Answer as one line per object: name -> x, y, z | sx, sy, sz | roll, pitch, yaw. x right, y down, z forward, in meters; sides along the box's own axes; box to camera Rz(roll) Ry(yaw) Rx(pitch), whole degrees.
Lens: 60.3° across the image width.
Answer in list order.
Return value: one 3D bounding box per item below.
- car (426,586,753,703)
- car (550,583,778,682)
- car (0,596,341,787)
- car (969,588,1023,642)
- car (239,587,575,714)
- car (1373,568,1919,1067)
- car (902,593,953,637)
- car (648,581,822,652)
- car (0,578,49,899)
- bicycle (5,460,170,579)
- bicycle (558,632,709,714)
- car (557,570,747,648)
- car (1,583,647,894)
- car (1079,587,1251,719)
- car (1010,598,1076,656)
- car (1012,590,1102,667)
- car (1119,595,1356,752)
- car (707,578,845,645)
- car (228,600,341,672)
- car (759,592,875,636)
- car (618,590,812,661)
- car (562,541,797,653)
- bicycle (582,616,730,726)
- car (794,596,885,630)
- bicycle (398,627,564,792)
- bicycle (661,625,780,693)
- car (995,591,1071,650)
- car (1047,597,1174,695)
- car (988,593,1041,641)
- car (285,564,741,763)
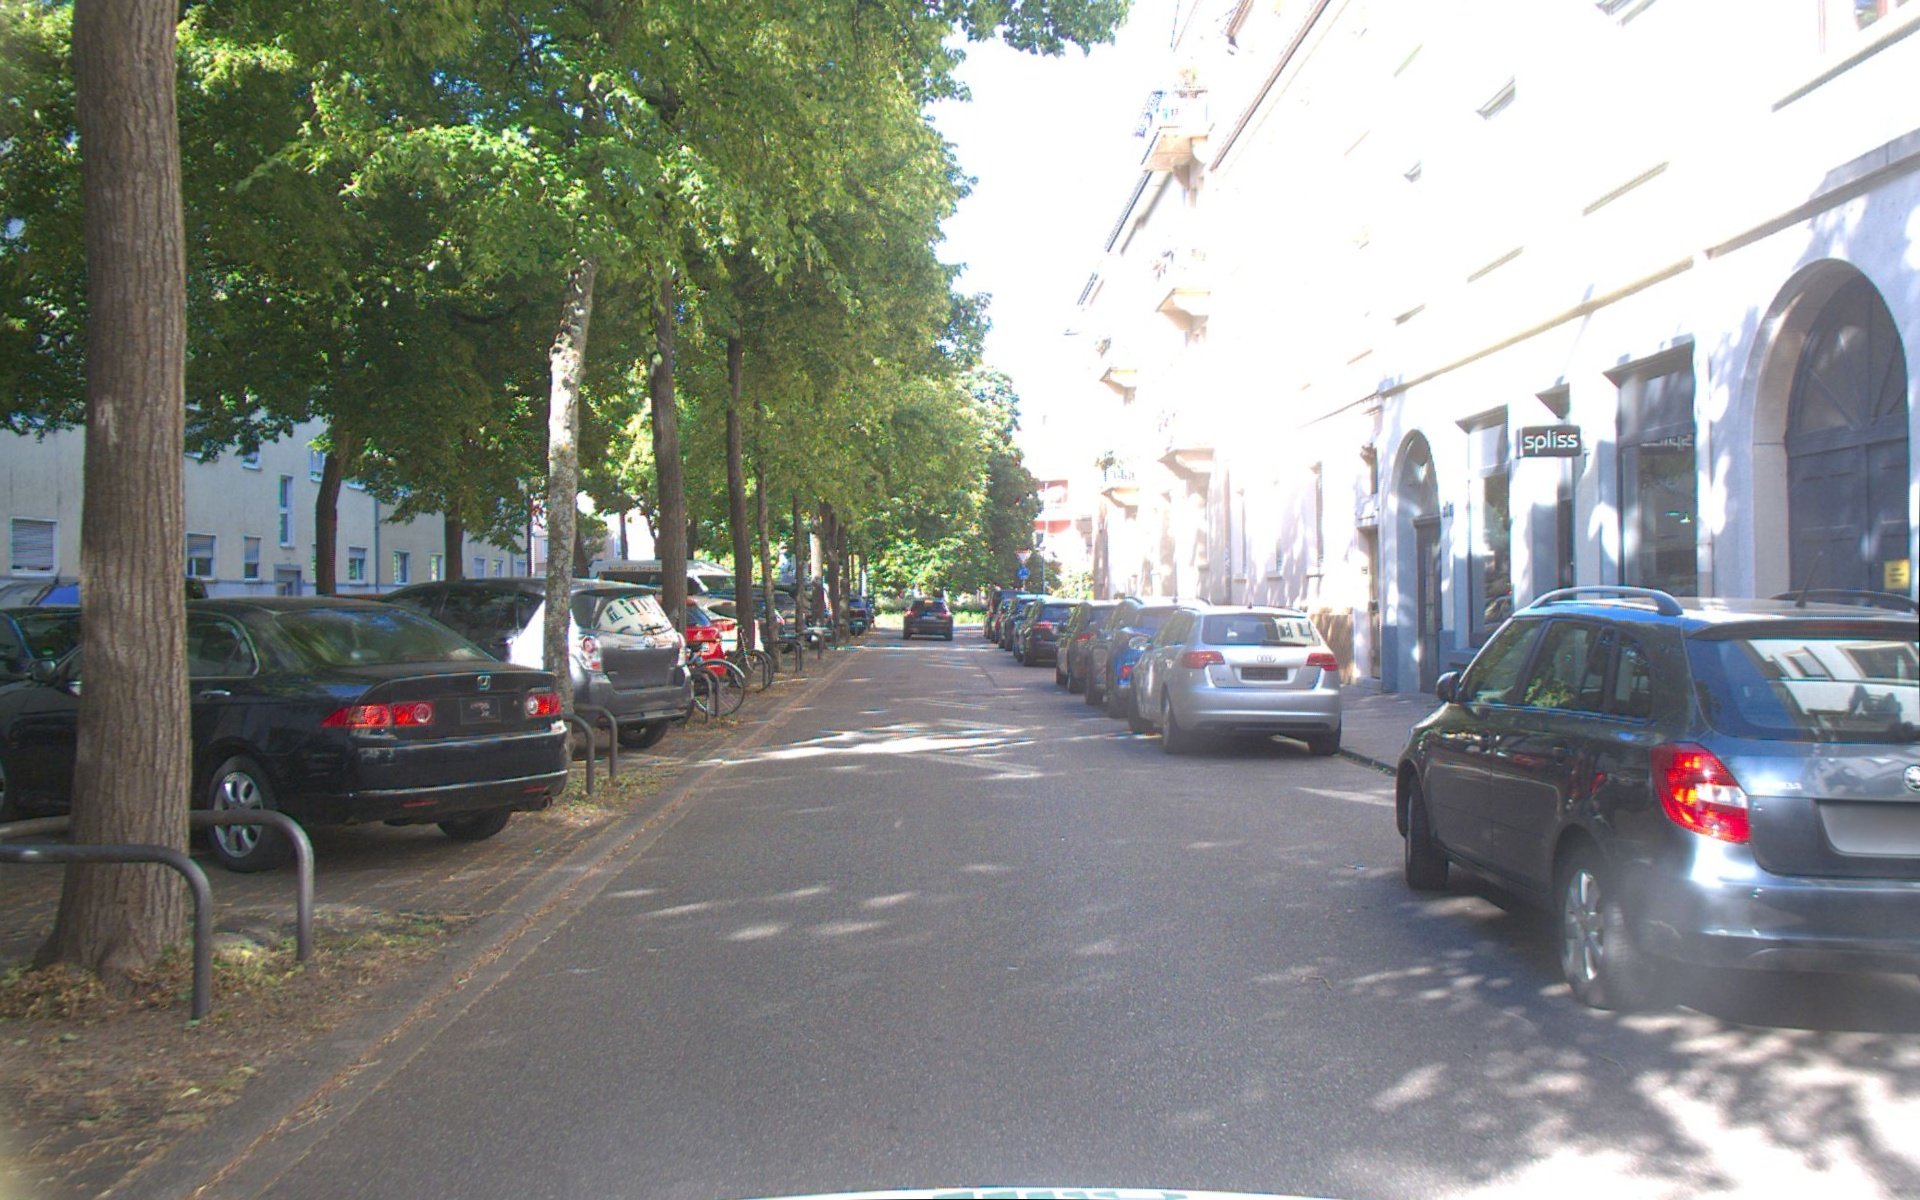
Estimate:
car -> -5.360, 0.588, 23.816 | 4.525, 1.512, 1.758 | 1, 0, 28
car -> -5.251, 0.536, 29.369 | 3.608, 1.624, 1.772 | 1, 0, 24
car -> -7.400, 0.680, 14.201 | 4.110, 1.415, 1.813 | 0, 0, 33
car -> 1.348, 0.546, 63.246 | 1.765, 1.903, 4.272 | 3, 0, -1
car -> -7.142, 0.598, 21.333 | 4.023, 1.499, 1.869 | 0, 0, 28
car -> 3.089, 0.686, 7.260 | 1.548, 1.578, 4.041 | 0, 0, 0
car -> -1.140, 0.517, 59.579 | 1.679, 1.509, 4.144 | -1, 0, 0
car -> -5.747, 0.400, 42.144 | 4.179, 1.670, 1.653 | 1, 0, 27
car -> -6.575, 0.634, 7.913 | 3.906, 1.512, 1.830 | 0, -1, 22
bicycle -> -9.664, -0.867, 18.389 | 0.348, 1.221, 1.801 | 1, 0, 22
bicycle -> -4.016, 0.885, 20.297 | 1.858, 0.935, 0.379 | 1, 0, 18
car -> -7.515, 0.228, 40.299 | 4.294, 1.808, 1.897 | -1, -1, 26
car -> -3.855, 0.696, 9.807 | 3.937, 1.500, 1.621 | -1, 0, 34
car -> 2.657, 0.645, 22.339 | 1.731, 1.579, 4.183 | -1, 0, -1
car -> 2.157, 0.675, 43.677 | 1.557, 1.440, 3.632 | 1, 0, 0
car -> 2.129, 0.595, 37.405 | 1.768, 1.591, 4.320 | -1, 0, 0
car -> 2.786, 0.681, 17.527 | 1.734, 1.456, 4.290 | 0, 0, -1
car -> -5.496, 0.336, 49.358 | 3.769, 1.921, 1.839 | -1, 0, 32
car -> -16.081, 0.822, 39.520 | 1.445, 1.586, 3.183 | -2, 0, -3
car -> -5.293, 0.521, 60.946 | 4.020, 1.492, 1.860 | 1, -1, -14
car -> -5.429, 0.548, 36.562 | 4.017, 1.507, 1.729 | 0, -1, 28
car -> -7.907, -0.040, 46.834 | 5.937, 2.668, 2.457 | -4, -2, 14
bicycle -> -3.418, 0.780, 18.580 | 1.650, 1.179, 0.379 | 1, 0, 18
car -> -5.531, 0.605, 75.725 | 4.064, 1.507, 1.767 | 0, -1, 39
bicycle -> -3.627, 0.796, 12.663 | 0.418, 1.150, 1.680 | 0, 0, 15
bicycle -> -3.647, 0.887, 25.185 | 1.772, 1.011, 0.426 | 0, 0, 14
car -> 2.165, 0.588, 50.099 | 1.827, 1.672, 4.488 | 1, 0, -4
car -> 2.433, 0.705, 27.571 | 1.658, 1.493, 4.004 | 1, 0, -1
car -> 1.894, 0.574, 58.507 | 1.612, 1.564, 3.999 | 3, 0, -1
car -> -4.299, 0.530, 15.891 | 3.996, 1.682, 1.861 | 1, 0, 26
